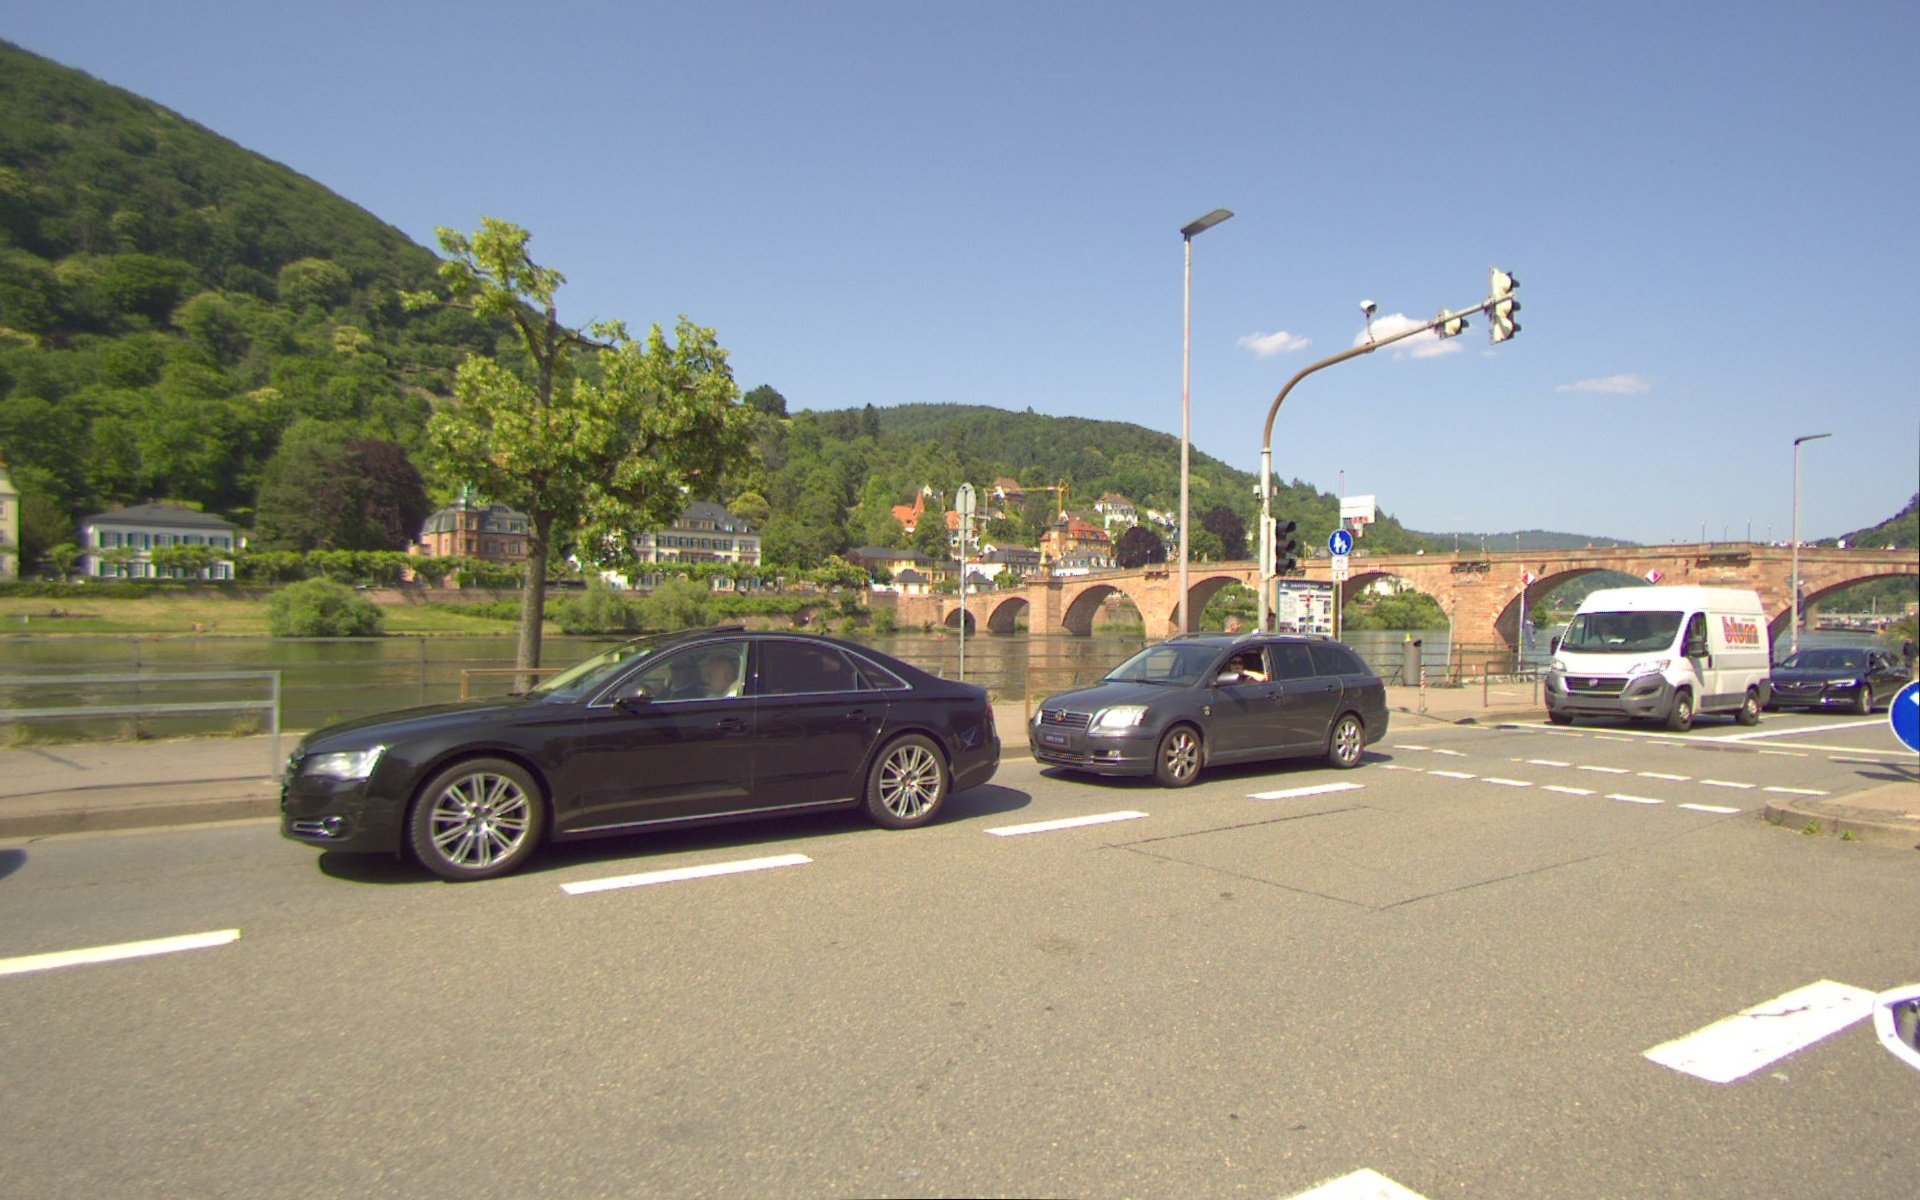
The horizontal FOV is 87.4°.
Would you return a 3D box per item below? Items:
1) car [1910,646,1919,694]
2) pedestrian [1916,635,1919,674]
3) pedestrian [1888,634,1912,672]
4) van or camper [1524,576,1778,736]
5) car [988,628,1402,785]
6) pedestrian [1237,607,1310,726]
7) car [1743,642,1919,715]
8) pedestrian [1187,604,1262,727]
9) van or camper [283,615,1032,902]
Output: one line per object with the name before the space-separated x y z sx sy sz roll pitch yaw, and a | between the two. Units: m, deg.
car | 30.551 2.118 30.147 4.172 1.431 1.942 3 -4 -32
pedestrian | 45.511 2.568 47.195 0.690 1.804 0.755 1 0 -40
pedestrian | 44.938 2.531 48.028 0.690 1.804 0.755 1 0 -40
van or camper | 12.508 0.987 18.053 5.440 2.482 1.981 2 -3 -35
car | 2.713 1.054 11.218 4.522 1.427 1.941 1 -3 -34
pedestrian | 5.070 1.055 16.260 0.758 1.804 0.687 1 5 -40
car | 19.883 1.720 22.854 4.877 1.475 1.808 1 -3 -34
pedestrian | 4.113 0.992 15.609 0.758 1.804 0.687 1 5 -40
van or camper | -2.026 0.921 7.527 5.014 1.496 1.981 2 -3 -35
